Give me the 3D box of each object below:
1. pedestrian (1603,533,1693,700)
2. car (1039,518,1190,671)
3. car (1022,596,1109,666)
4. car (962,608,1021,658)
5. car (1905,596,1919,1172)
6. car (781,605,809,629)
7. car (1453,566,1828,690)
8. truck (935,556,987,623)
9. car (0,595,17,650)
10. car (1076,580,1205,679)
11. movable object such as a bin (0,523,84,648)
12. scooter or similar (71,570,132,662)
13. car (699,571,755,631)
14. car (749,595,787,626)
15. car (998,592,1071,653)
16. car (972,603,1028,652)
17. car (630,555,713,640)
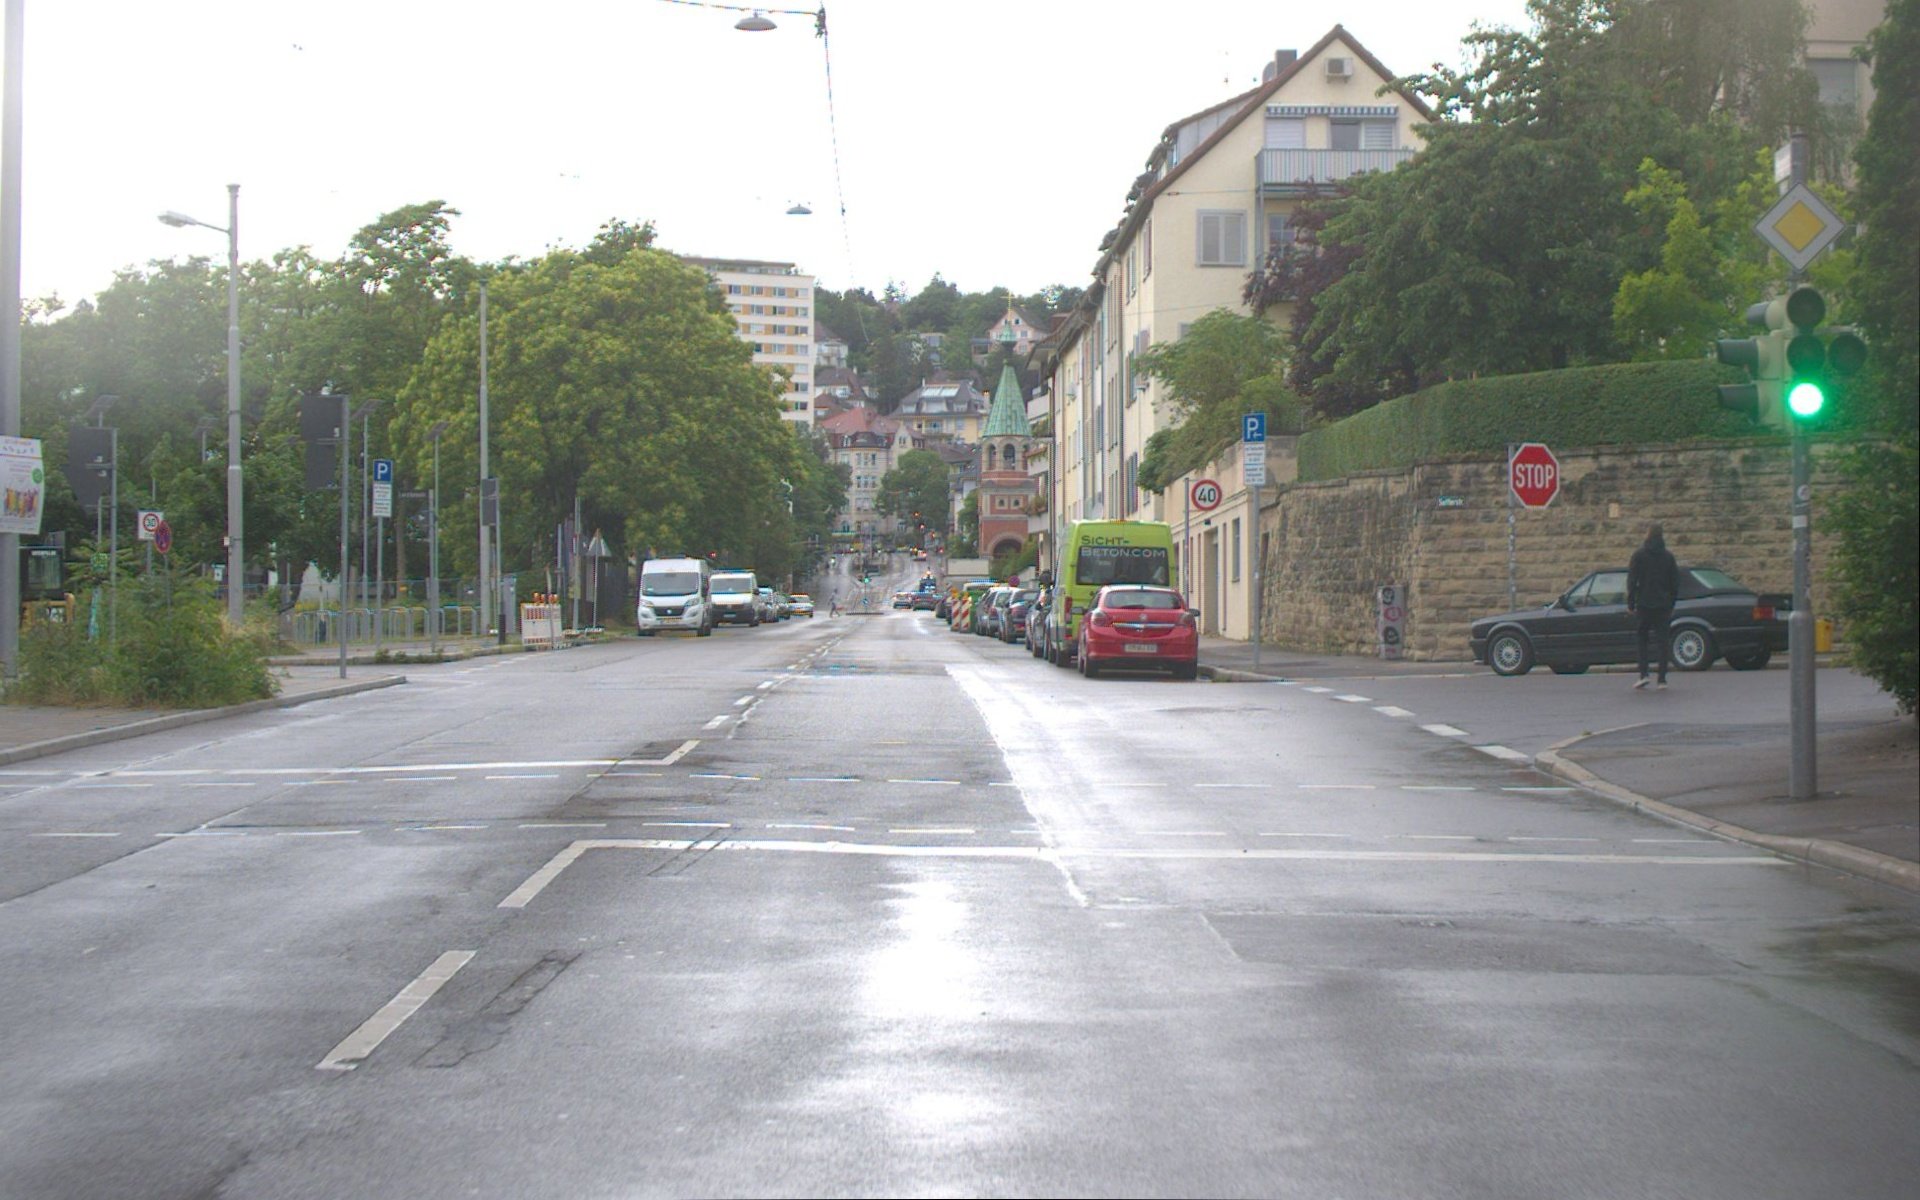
[{"bbox_3d":[7.204,0.166,36.044,0.723,1.709,0.905,-1,0,0],"label":"pedestrian"},{"bbox_3d":[2.611,-0.110,59.594,2.205,2.455,6.080,2,0,-1],"label":"car"},{"bbox_3d":[2.366,0.685,77.804,1.688,1.449,4.235,2,1,-2],"label":"car"},{"bbox_3d":[1.016,1.066,112.198,1.716,1.519,4.000,2,0,-2],"label":"car"},{"bbox_3d":[3.543,0.778,6.969,1.792,1.514,4.513,0,1,-3],"label":"car"},{"bbox_3d":[-10.496,1.102,219.186,1.709,1.446,4.294,0,-1,-2],"label":"car"},{"bbox_3d":[8.494,0.369,43.120,4.274,1.388,1.748,-3,-2,41],"label":"car"},{"bbox_3d":[0.018,-0.485,167.784,2.469,3.161,7.036,0,0,-1],"label":"truck"},{"bbox_3d":[-33.933,0.785,114.192,1.998,1.828,4.681,-1,0,41],"label":"car"},{"bbox_3d":[2.731,0.428,52.875,1.721,1.416,4.203,2,0,0],"label":"car"},{"bbox_3d":[-19.812,-0.280,69.992,1.666,2.451,5.287,0,0,-40],"label":"movable object such as a bin"},{"bbox_3d":[-11.809,0.228,47.332,0.496,1.244,1.231,1,-1,0],"label":"scooter or similar"},{"bbox_3d":[-9.995,0.047,147.760,2.012,2.479,5.983,-1,0,0],"label":"car"},{"bbox_3d":[-9.131,0.508,163.543,1.682,1.394,3.910,-1,-1,-2],"label":"car"},{"bbox_3d":[1.881,0.561,87.907,1.629,1.449,3.759,2,0,-2],"label":"car"},{"bbox_3d":[1.232,0.839,107.223,1.558,1.449,3.759,2,0,-2],"label":"car"},{"bbox_3d":[-9.116,-0.070,109.091,2.230,2.570,6.538,-1,0,-2],"label":"car"}]
